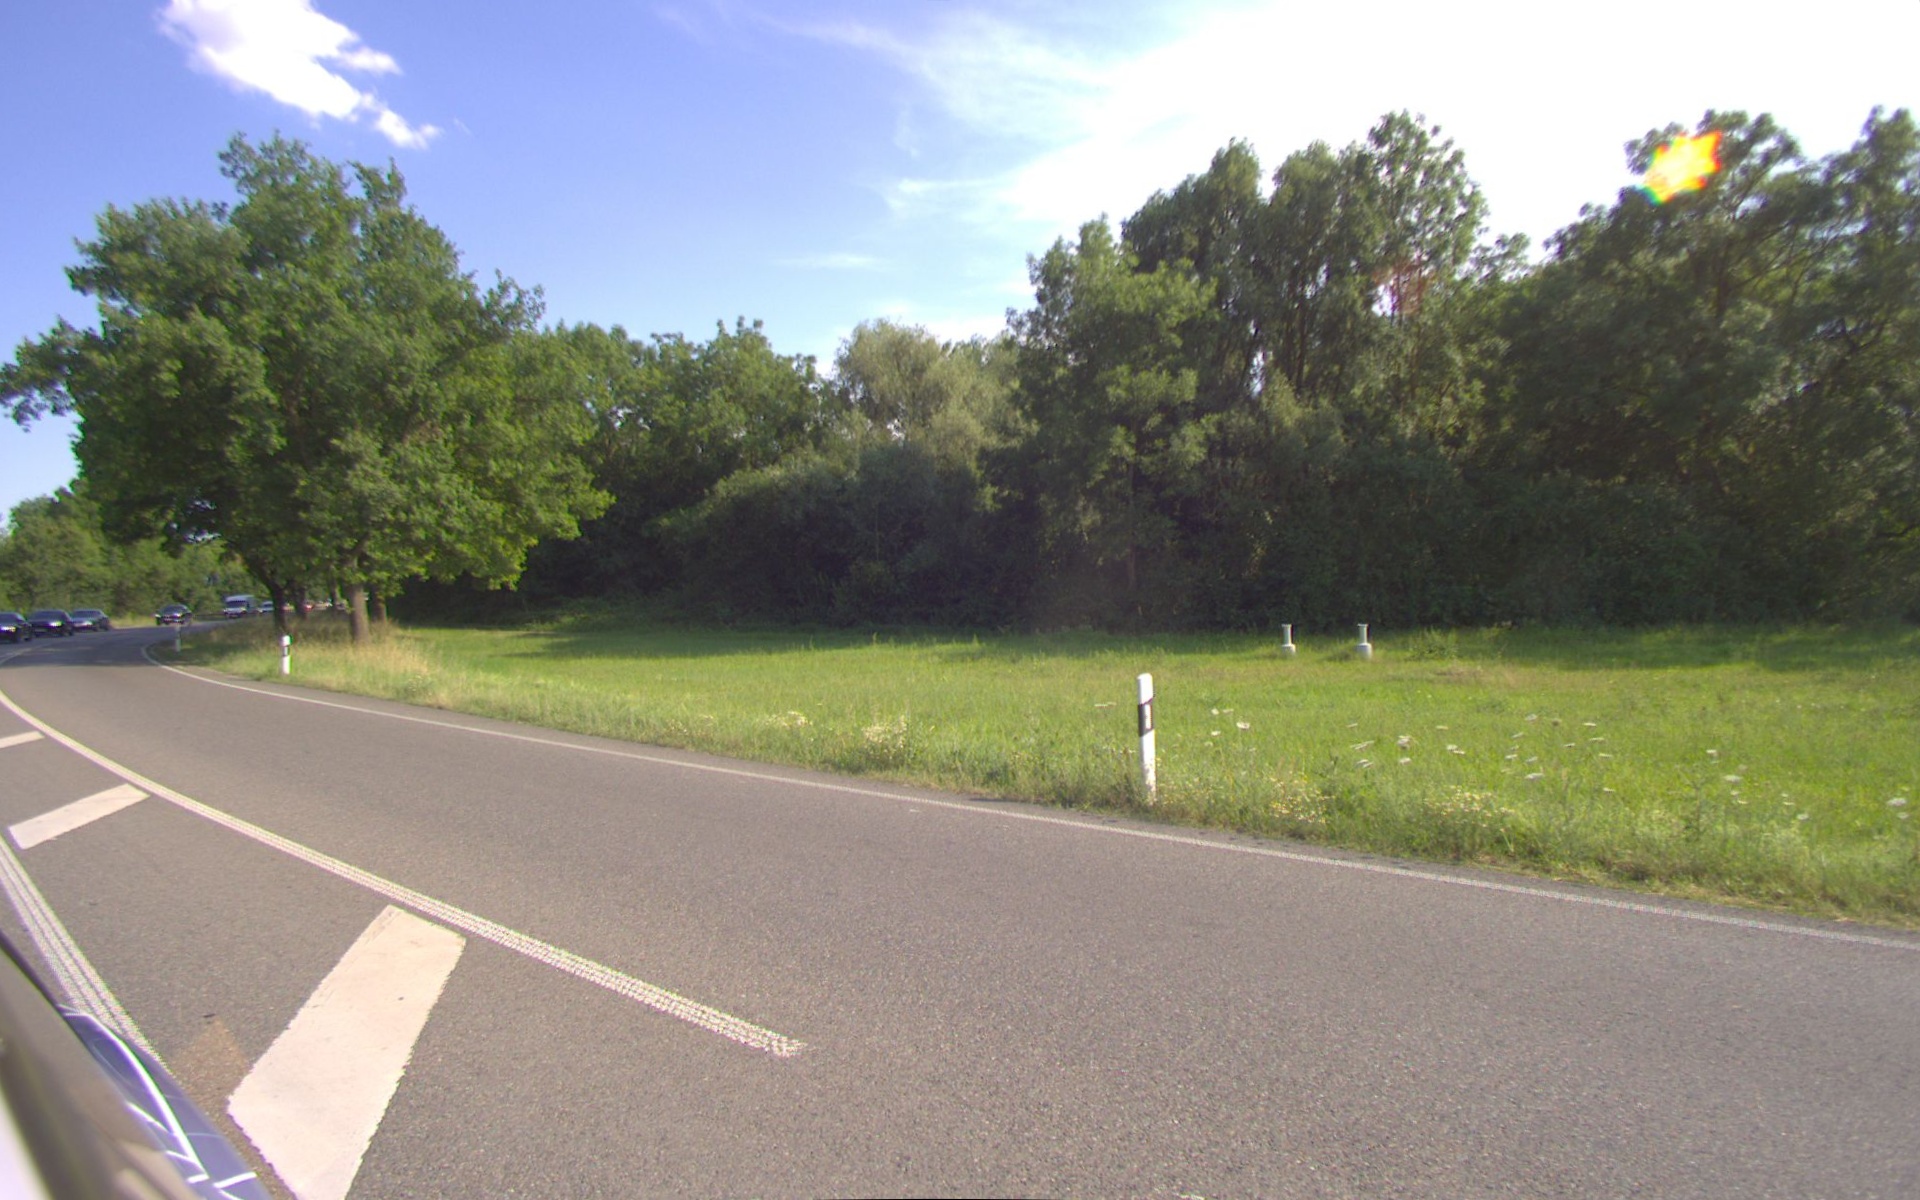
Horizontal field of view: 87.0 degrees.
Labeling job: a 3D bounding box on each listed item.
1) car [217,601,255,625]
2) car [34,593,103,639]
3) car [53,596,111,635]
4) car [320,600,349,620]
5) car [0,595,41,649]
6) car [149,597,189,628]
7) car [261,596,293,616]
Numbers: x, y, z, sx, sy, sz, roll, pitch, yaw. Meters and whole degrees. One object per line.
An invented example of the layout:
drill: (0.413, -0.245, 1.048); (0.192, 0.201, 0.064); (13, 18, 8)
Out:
car: (-77.892, 1.373, 108.958); (2.054, 2.435, 5.159); (-1, 0, -21)
car: (-50.091, 0.863, 56.940); (2.054, 2.435, 5.157); (-1, 1, -32)
car: (-56.888, 0.962, 65.661); (2.054, 2.435, 5.157); (-1, 1, -32)
car: (-79.276, 1.255, 128.325); (2.054, 2.435, 5.159); (-1, 0, -21)
car: (-45.404, 0.993, 47.771); (2.054, 2.435, 5.157); (-1, 1, -32)
car: (-66.220, 1.013, 84.782); (2.054, 2.435, 5.157); (-1, 1, -32)
car: (-82.637, 0.697, 122.586); (2.054, 2.435, 5.159); (-1, 0, -21)
